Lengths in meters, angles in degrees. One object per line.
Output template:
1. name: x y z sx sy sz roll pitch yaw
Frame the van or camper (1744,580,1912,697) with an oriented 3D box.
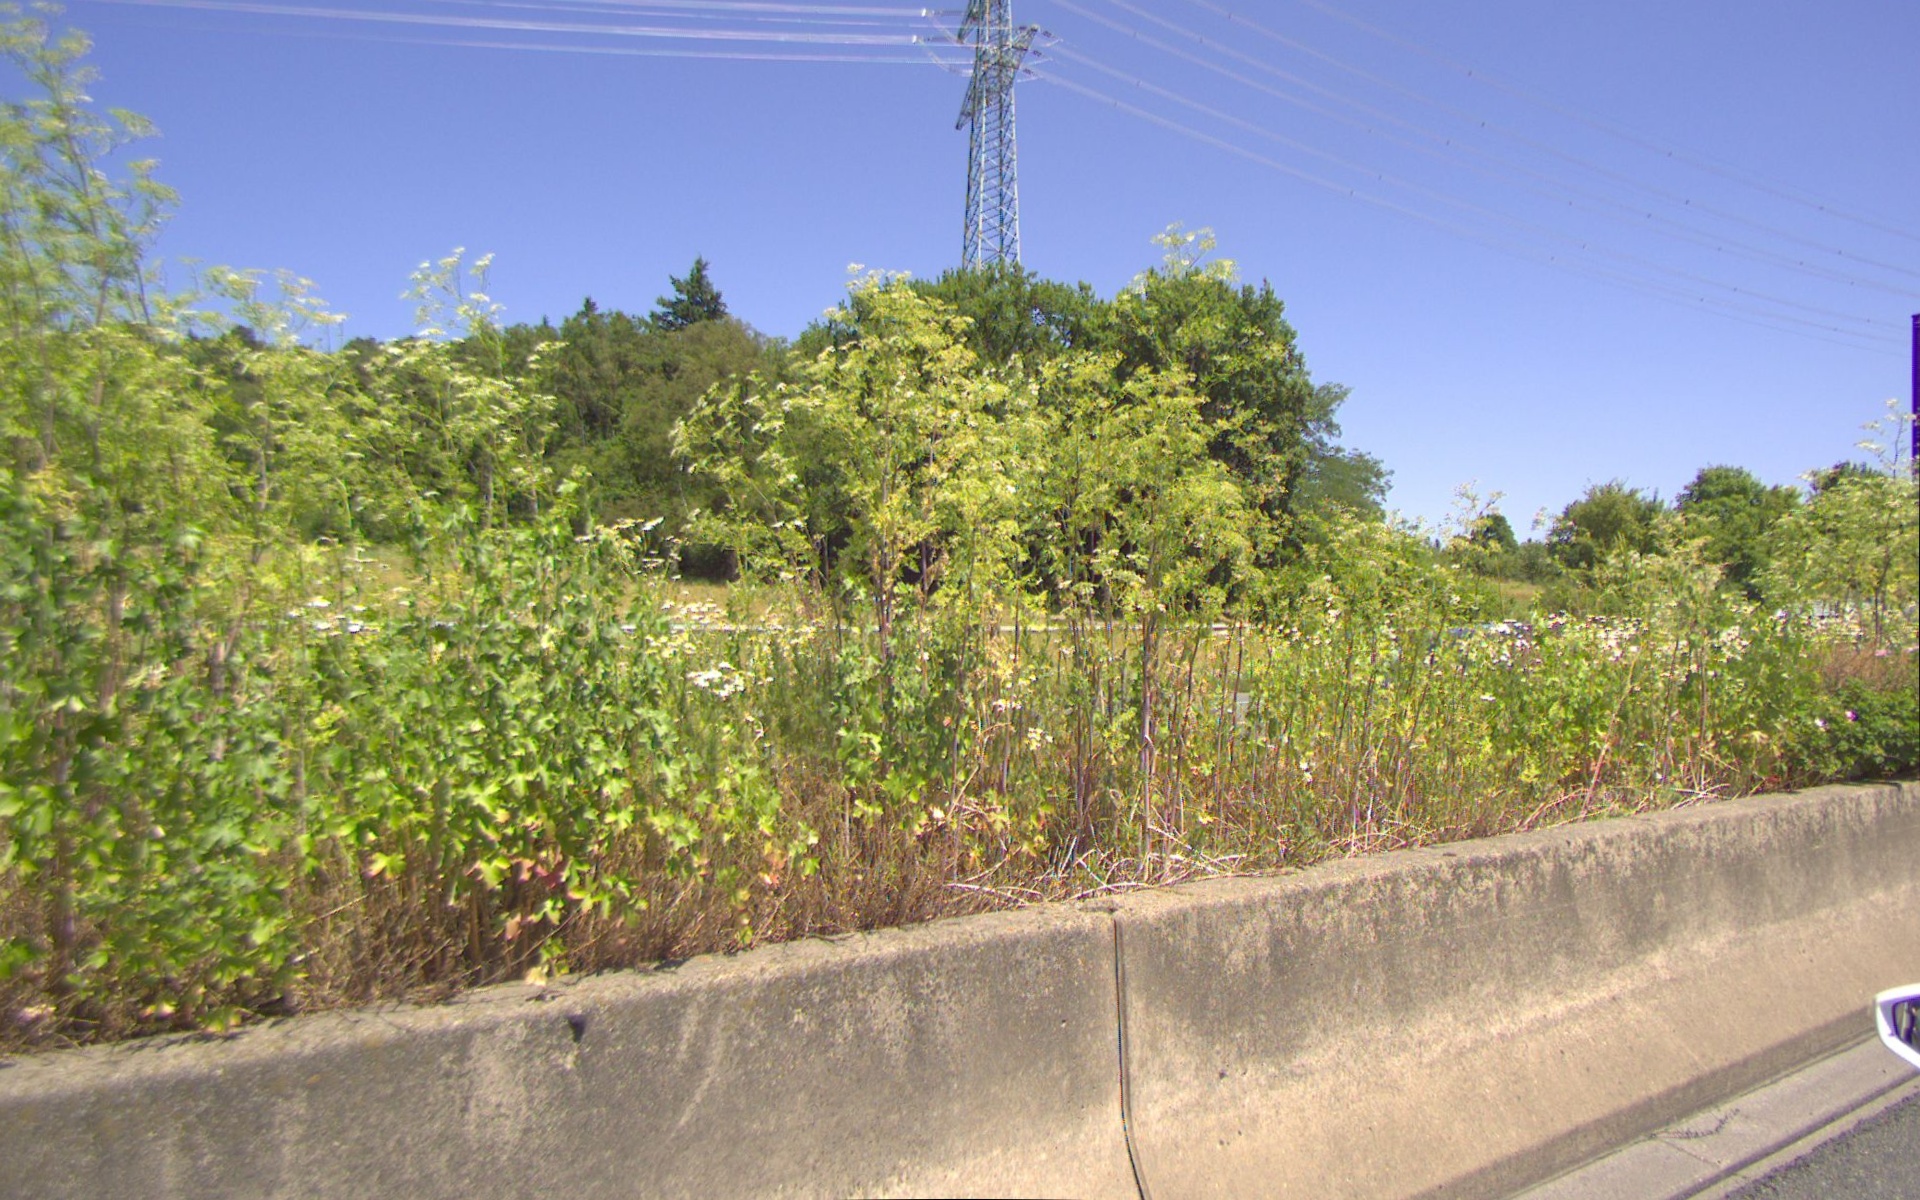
1. van or camper: 23.332 1.037 26.977 4.594 2.898 2.039 2 -1 -30

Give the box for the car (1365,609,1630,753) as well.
1. car: 7.515 1.053 13.977 3.644 1.777 1.574 2 -1 -30
